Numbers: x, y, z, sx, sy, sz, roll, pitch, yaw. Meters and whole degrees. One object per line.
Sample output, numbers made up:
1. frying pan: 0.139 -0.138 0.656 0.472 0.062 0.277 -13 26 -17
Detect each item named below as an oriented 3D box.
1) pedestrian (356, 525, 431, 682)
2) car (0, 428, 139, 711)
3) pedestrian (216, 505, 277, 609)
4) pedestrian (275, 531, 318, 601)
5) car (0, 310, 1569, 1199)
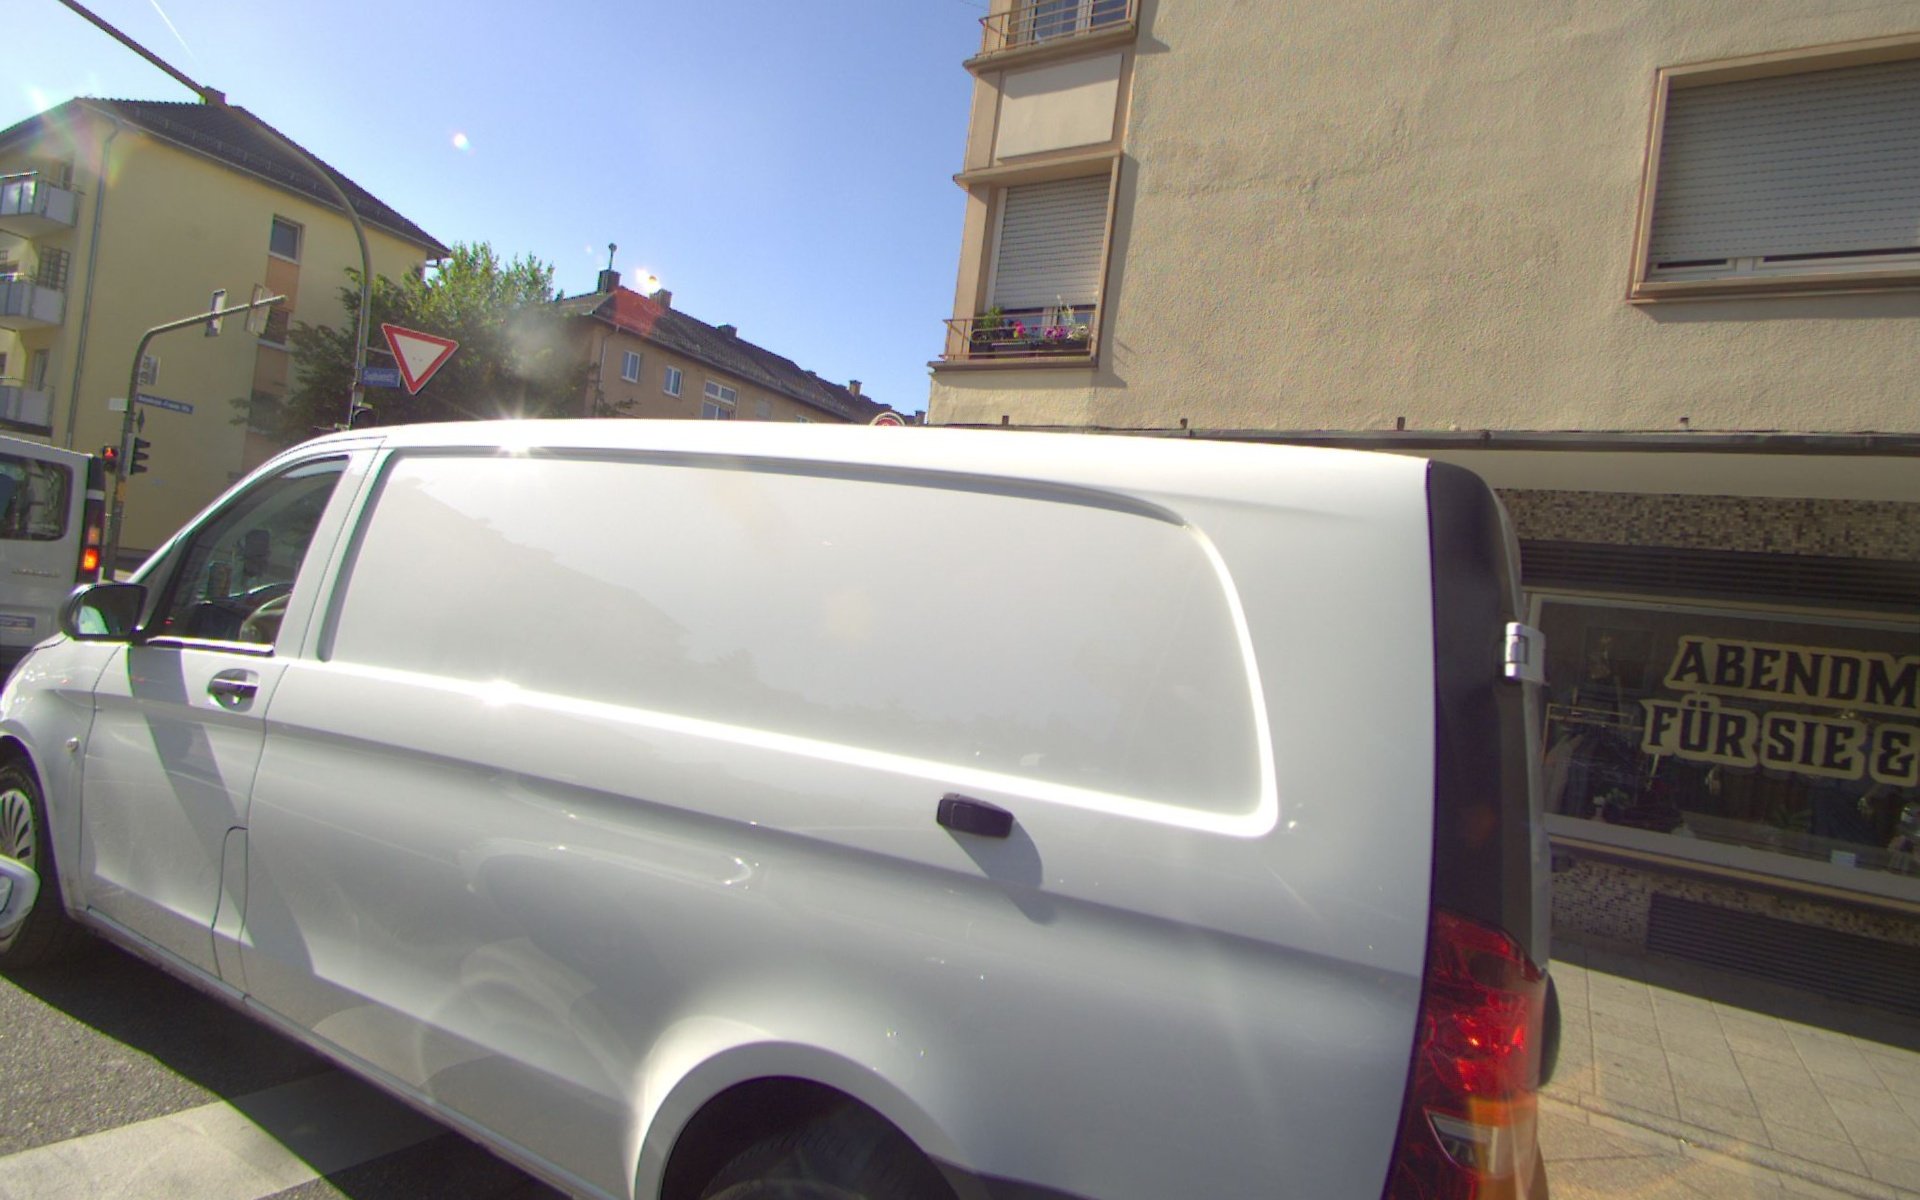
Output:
1. pedestrian: -7.022 0.042 12.501 0.599 1.844 0.624 7 0 -28
2. car: -8.875 -0.450 8.464 4.983 1.961 1.968 6 -3 40
3. pedestrian: -12.918 -0.778 18.213 0.612 1.783 0.526 7 0 30
4. pedestrian: -15.948 -0.805 24.193 0.530 1.590 0.540 7 0 32
5. car: -1.010 0.463 3.127 4.751 1.832 1.972 6 -1 31
